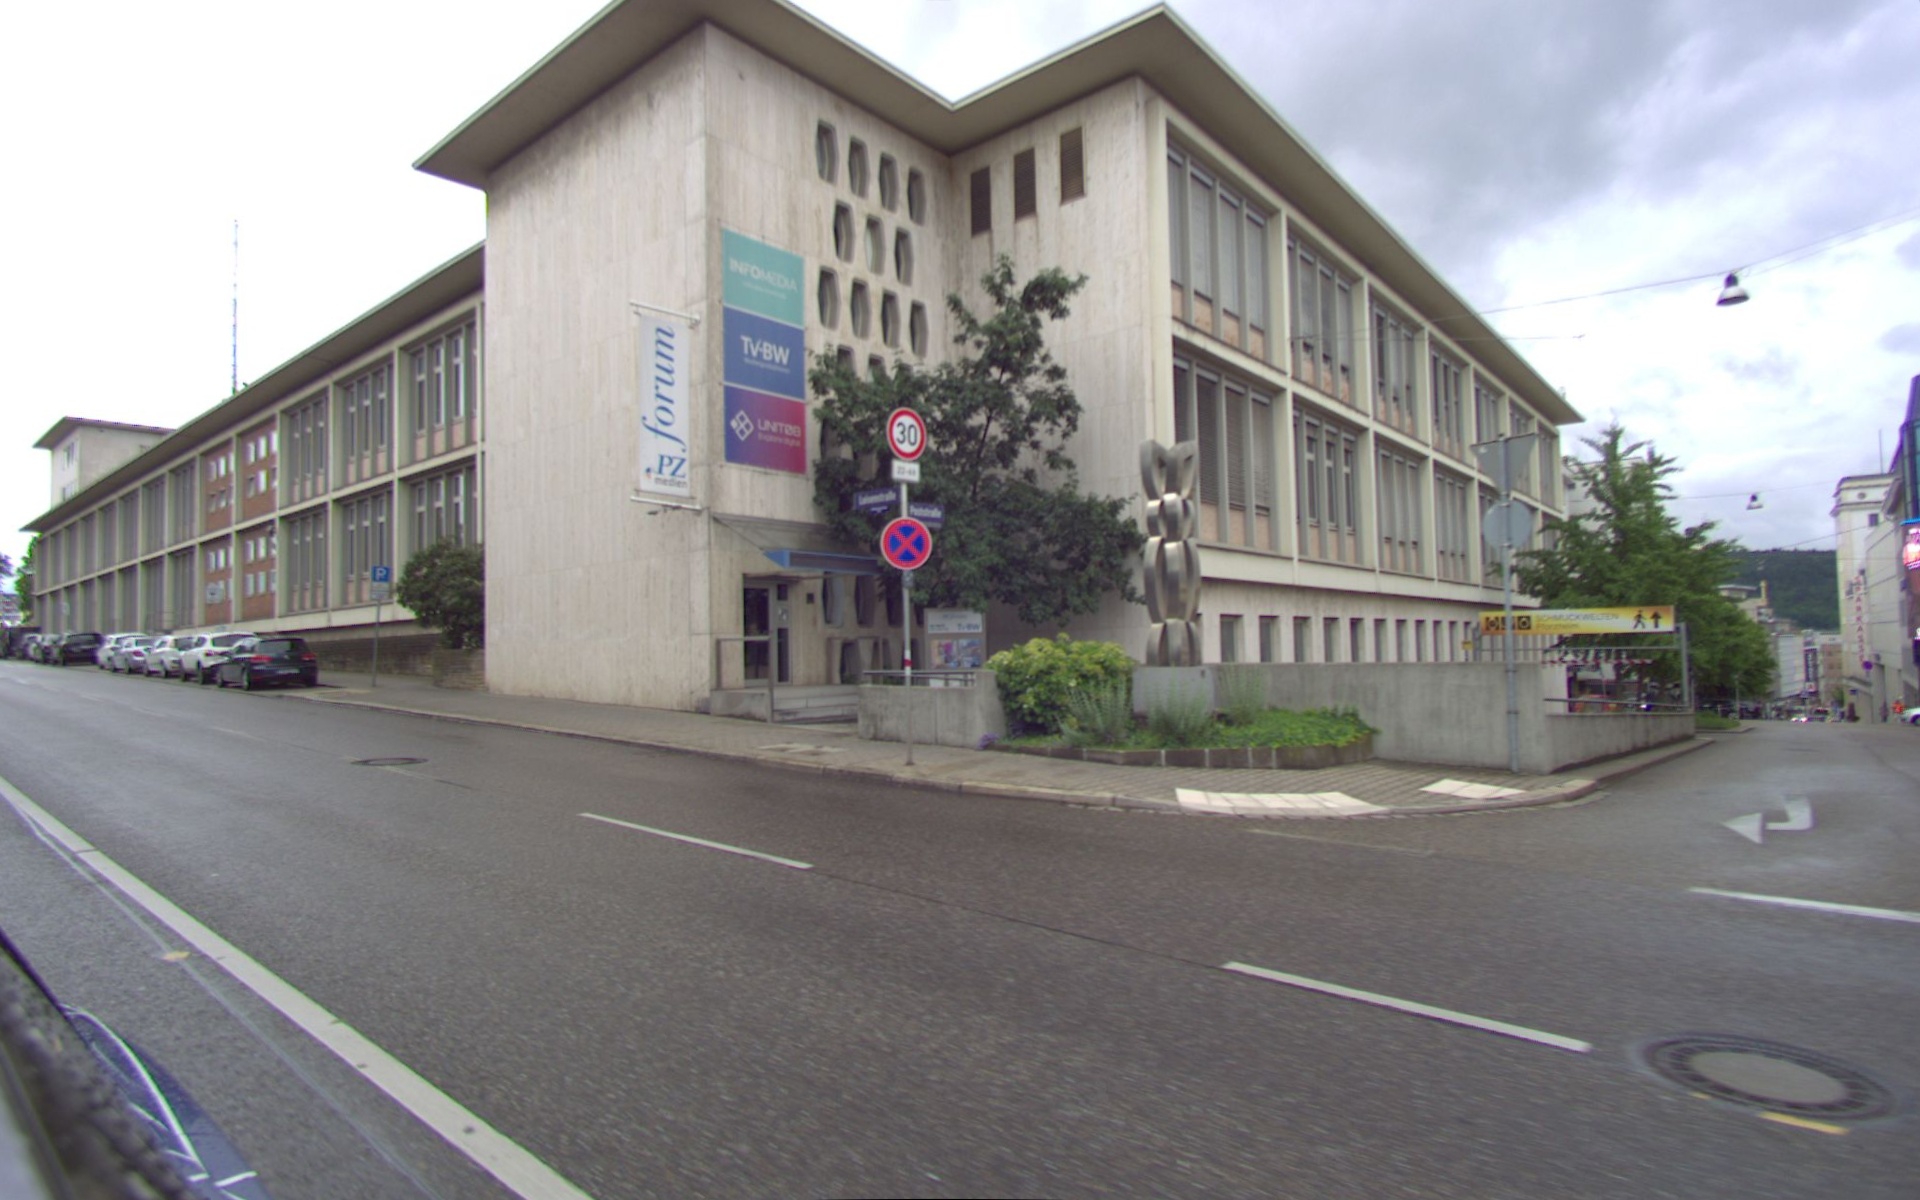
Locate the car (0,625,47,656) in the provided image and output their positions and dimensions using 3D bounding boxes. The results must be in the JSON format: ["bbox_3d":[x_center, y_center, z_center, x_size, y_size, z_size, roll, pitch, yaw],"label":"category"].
[{"bbox_3d":[-58.558,2.512,63.032,3.997,1.659,1.974,1,2,40],"label":"car"}]

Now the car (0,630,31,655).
[{"bbox_3d":[-65.644,2.940,69.765,4.000,1.543,1.972,-1,1,43],"label":"car"}]

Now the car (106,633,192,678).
[{"bbox_3d":[-31.822,2.126,39.675,4.184,1.502,1.973,-1,1,42],"label":"car"}]

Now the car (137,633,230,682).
[{"bbox_3d":[-27.943,2.006,36.398,4.000,1.523,1.972,-1,1,42],"label":"car"}]

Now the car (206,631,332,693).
[{"bbox_3d":[-19.973,1.734,29.215,3.996,1.541,1.974,-1,1,40],"label":"car"}]

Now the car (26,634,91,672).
[{"bbox_3d":[-47.083,2.720,52.828,3.996,1.747,1.974,-1,1,40],"label":"car"}]

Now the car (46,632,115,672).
[{"bbox_3d":[-42.735,2.484,49.159,3.998,1.724,1.973,-1,1,41],"label":"car"}]

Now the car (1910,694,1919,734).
[{"bbox_3d":[54.496,6.325,55.237,1.970,2.029,3.776,-1,1,-43],"label":"car"}]

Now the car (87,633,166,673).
[{"bbox_3d":[-36.038,2.250,43.722,3.997,1.541,1.973,-1,1,40],"label":"car"}]

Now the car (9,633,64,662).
[{"bbox_3d":[-54.996,2.786,60.255,3.998,1.548,1.973,-1,1,41],"label":"car"}]

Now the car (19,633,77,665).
[{"bbox_3d":[-51.733,2.753,57.368,3.998,1.590,1.973,-1,1,41],"label":"car"}]

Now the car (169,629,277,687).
[{"bbox_3d":[-23.835,1.812,32.690,3.998,1.654,1.973,-1,1,41],"label":"car"}]
